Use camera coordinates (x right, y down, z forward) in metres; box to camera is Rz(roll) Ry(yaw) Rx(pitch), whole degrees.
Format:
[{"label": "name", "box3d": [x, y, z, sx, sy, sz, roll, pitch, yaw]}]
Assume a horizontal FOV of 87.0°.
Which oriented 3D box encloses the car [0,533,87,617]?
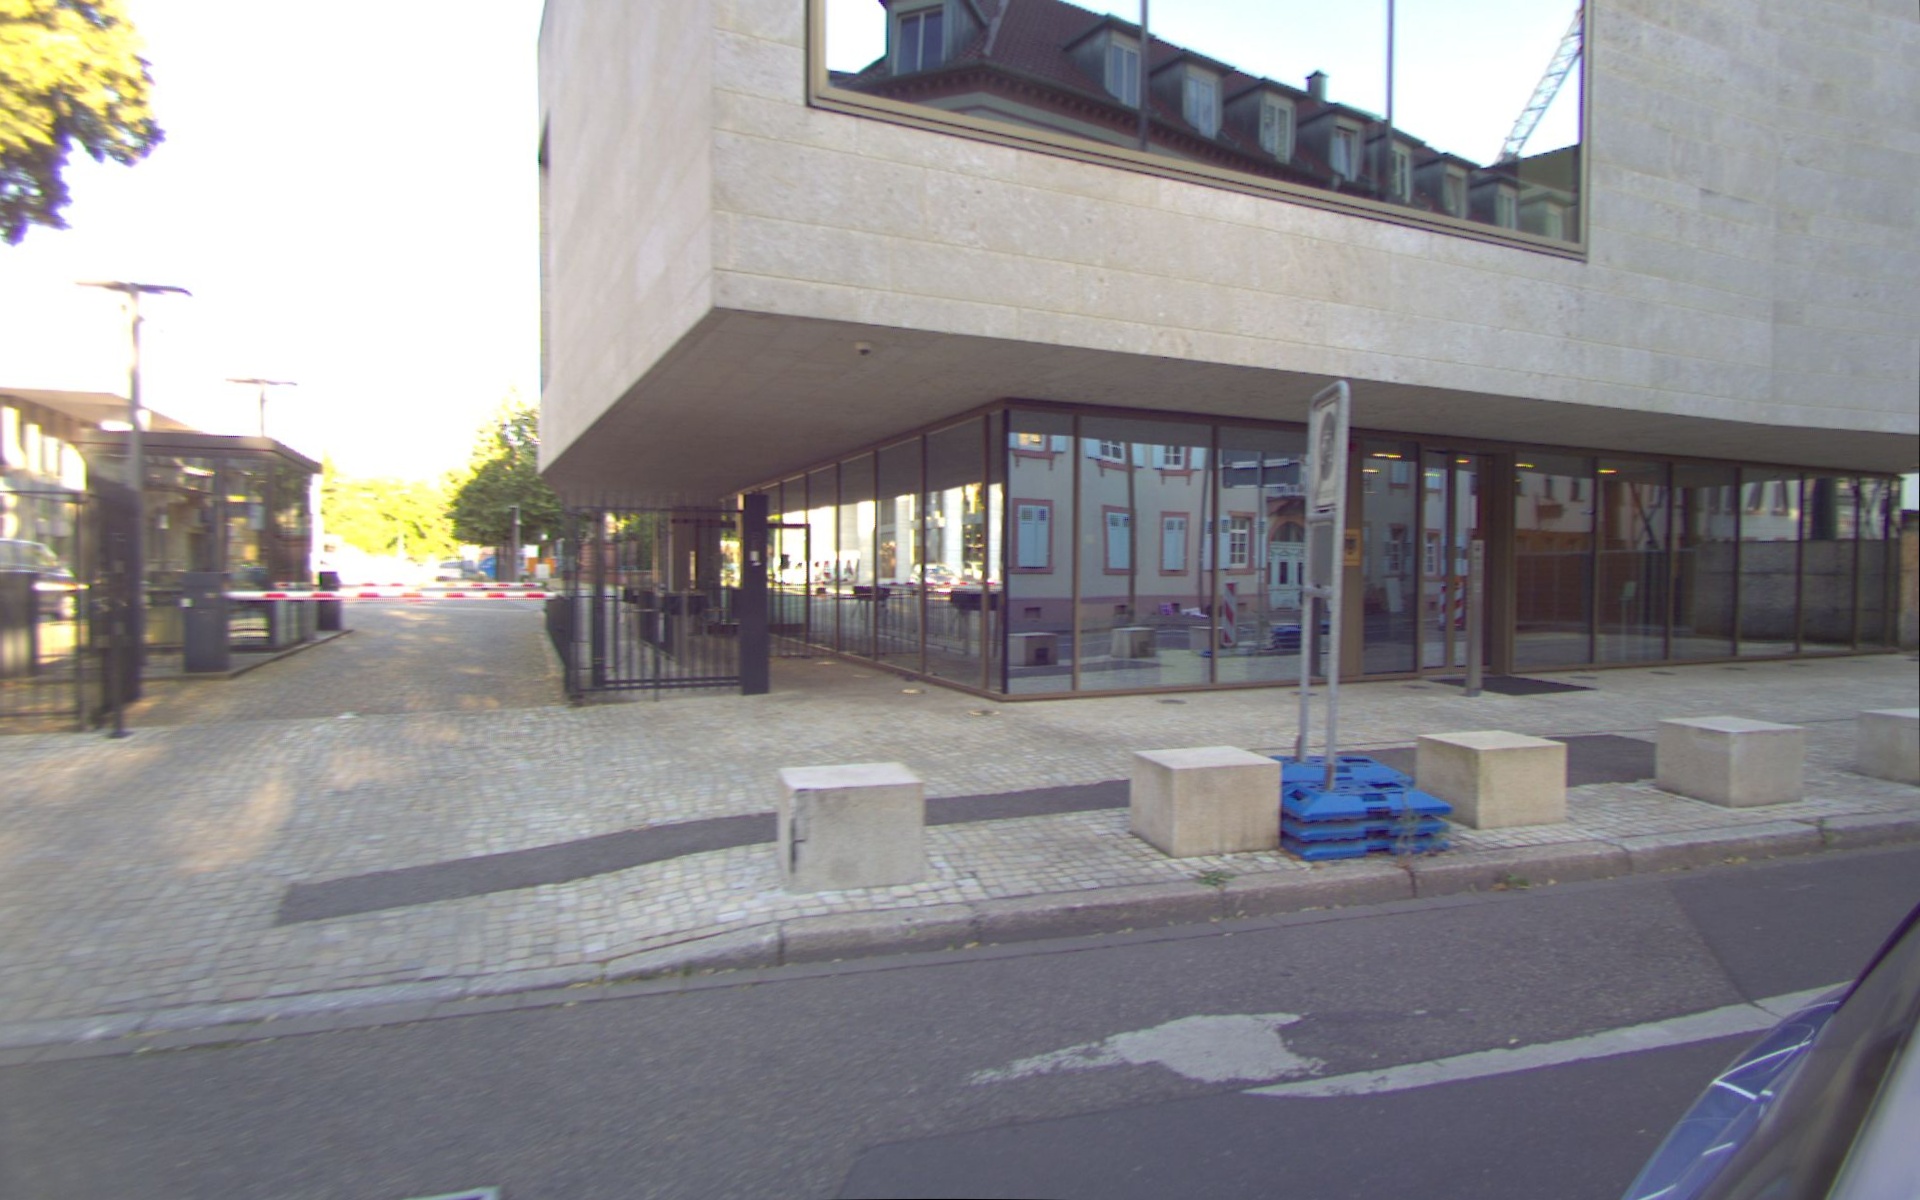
[{"label": "car", "box3d": [-21.496, -0.621, 22.627, 1.673, 1.758, 4.074, 2, 2, -21]}]
